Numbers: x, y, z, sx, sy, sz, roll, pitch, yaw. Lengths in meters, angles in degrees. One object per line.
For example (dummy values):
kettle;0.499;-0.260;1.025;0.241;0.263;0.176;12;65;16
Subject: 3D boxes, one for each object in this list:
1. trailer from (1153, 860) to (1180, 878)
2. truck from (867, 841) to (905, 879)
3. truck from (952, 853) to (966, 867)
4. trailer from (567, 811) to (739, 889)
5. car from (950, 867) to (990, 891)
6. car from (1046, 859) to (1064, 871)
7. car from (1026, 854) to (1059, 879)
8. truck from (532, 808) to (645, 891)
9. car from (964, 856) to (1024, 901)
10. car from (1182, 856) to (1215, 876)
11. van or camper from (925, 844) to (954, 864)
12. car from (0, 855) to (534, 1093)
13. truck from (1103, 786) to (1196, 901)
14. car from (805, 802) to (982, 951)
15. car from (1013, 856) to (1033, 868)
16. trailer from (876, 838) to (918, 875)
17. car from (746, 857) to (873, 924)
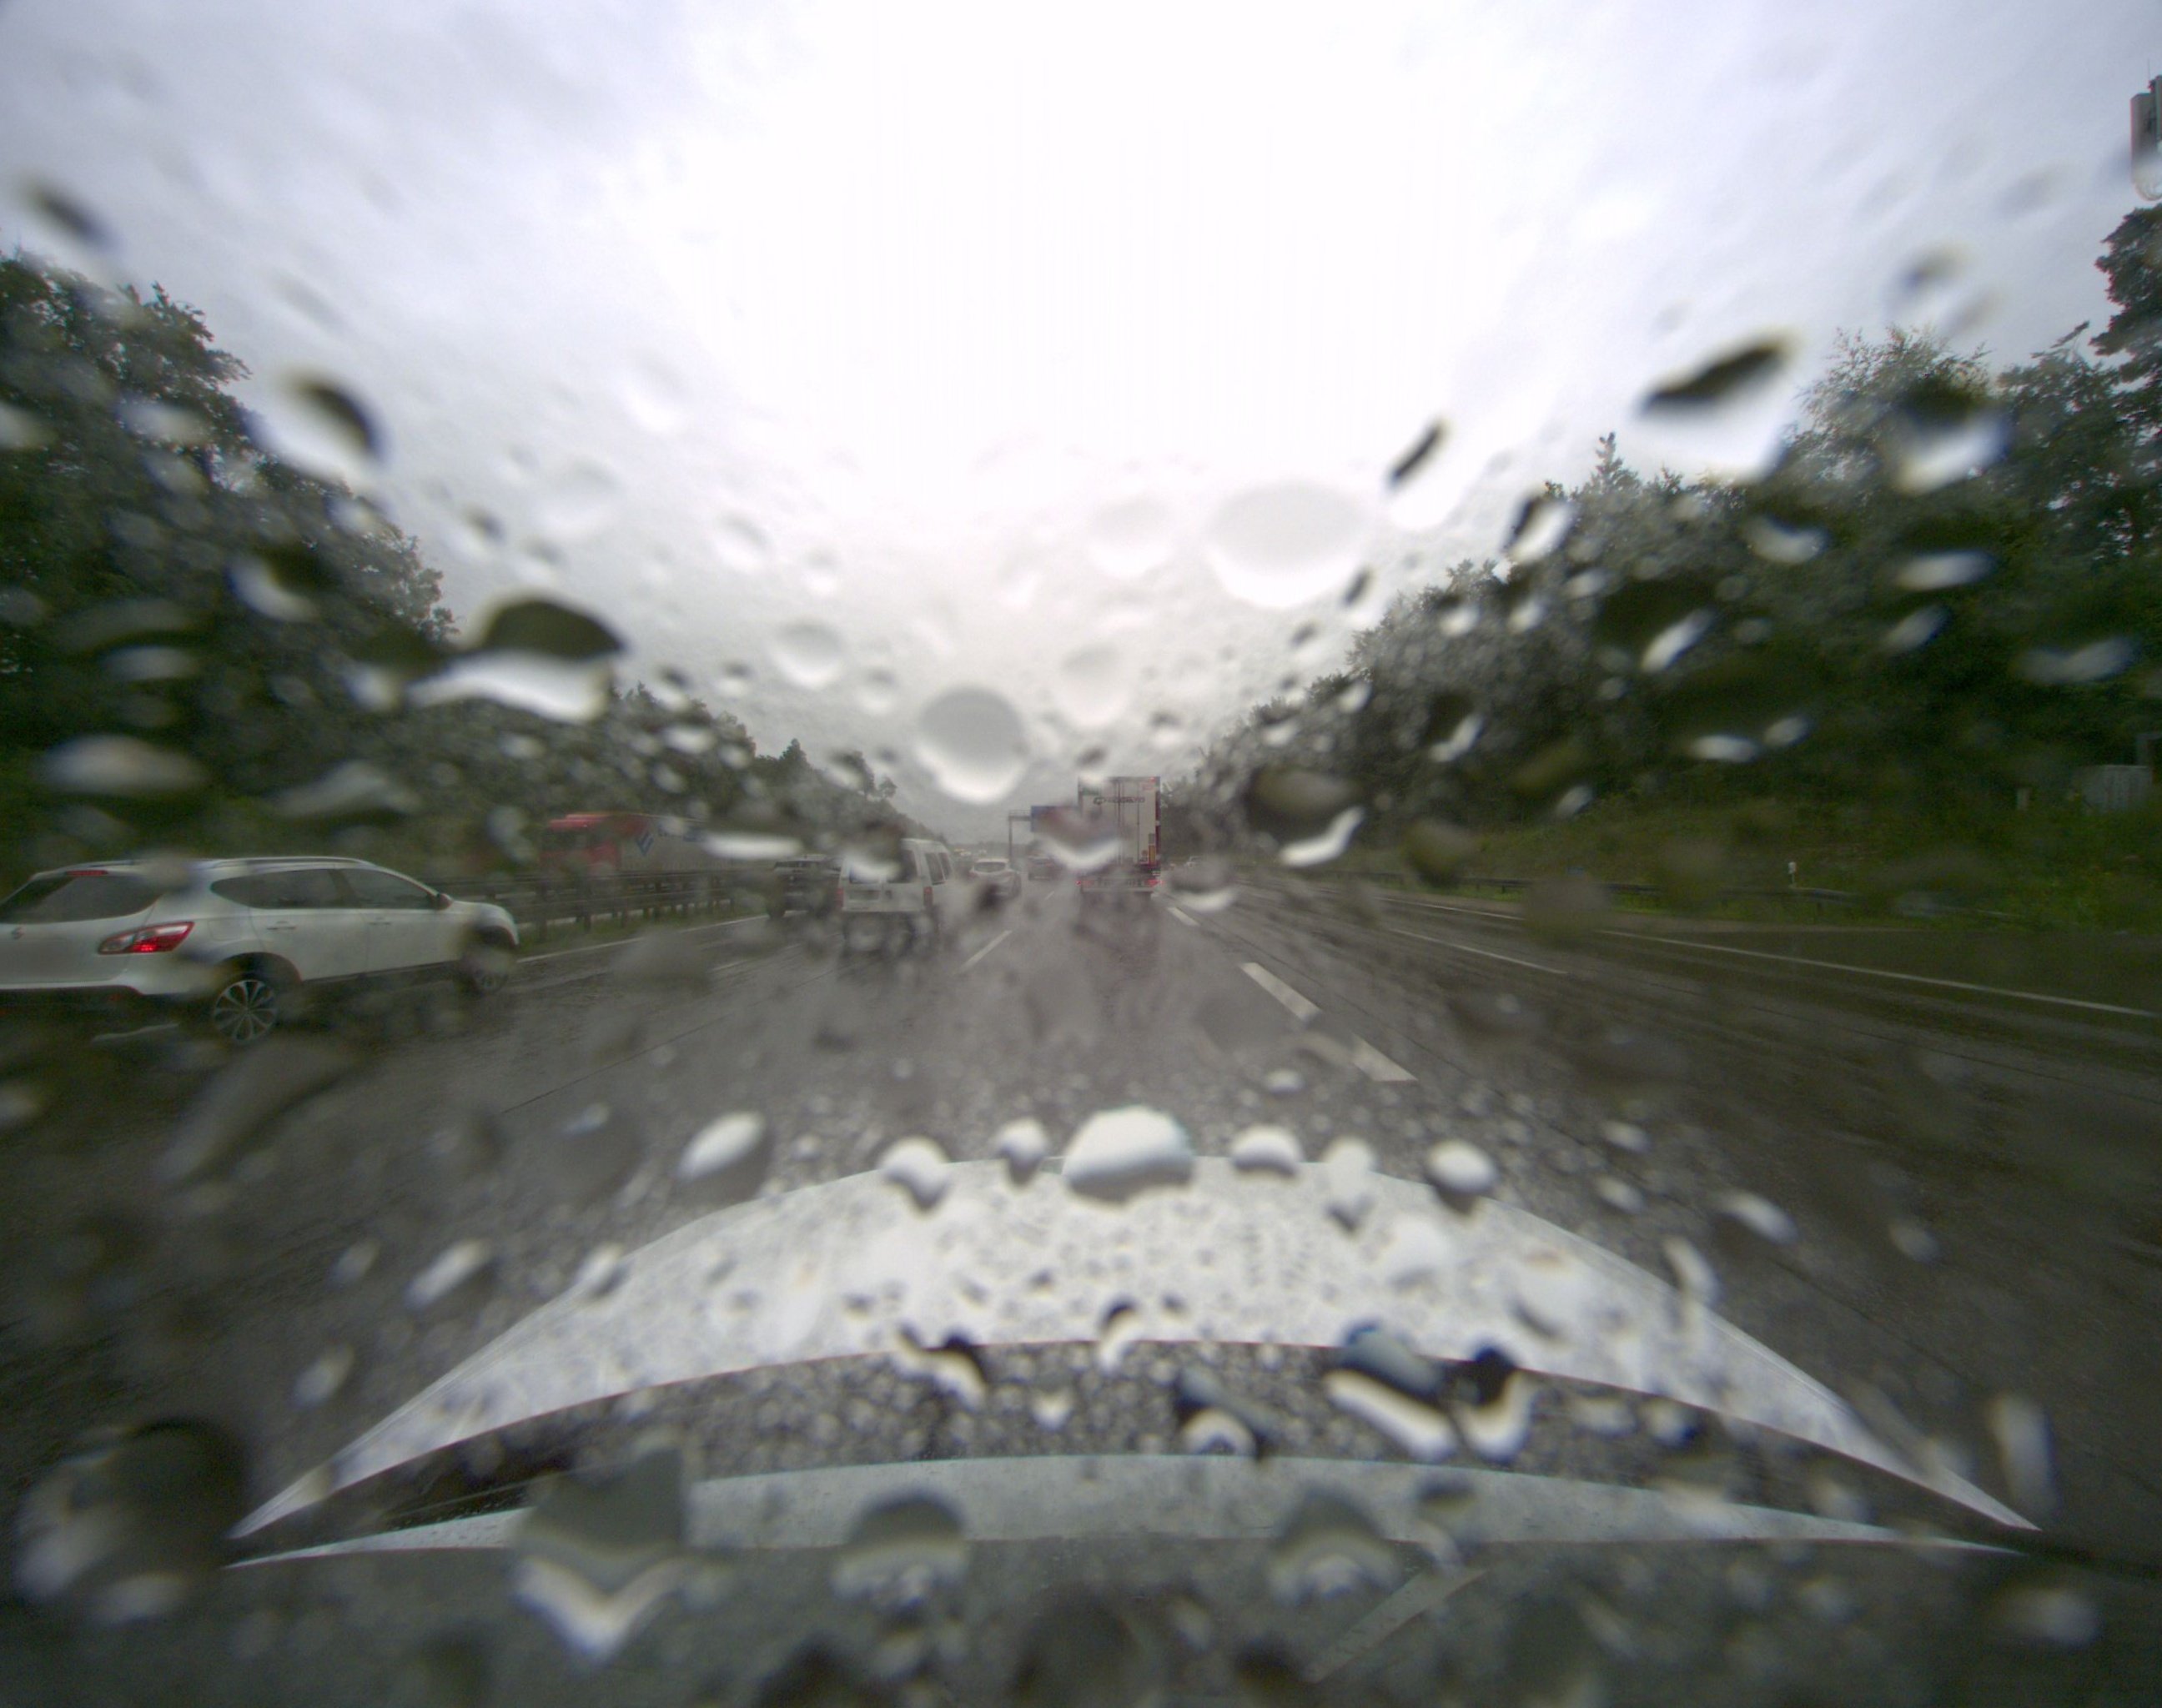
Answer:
trailer;8.827;1.514;84.628;2.236;1.714;5.081;-1;0;0
truck;-21.373;0.649;89.703;2.368;3.954;6.538;-2;0;1
truck;-31.128;1.424;208.470;2.514;3.483;11.706;0;0;-3
trailer;-25.345;-0.200;49.583;2.710;3.954;13.963;-2;0;1
car;-6.900;1.531;51.122;1.839;1.330;4.466;0;0;0
car;-2.923;1.223;92.686;1.839;1.330;4.466;0;0;0
car;-2.577;0.802;55.751;1.838;1.591;4.470;0;0;3
truck;-25.499;-0.220;42.466;2.694;3.954;4.892;-2;0;1
car;-3.296;0.907;31.703;1.839;1.591;4.072;0;0;0
car;8.887;0.890;61.724;1.786;1.407;4.225;0;0;-2
van or camper;-21.901;-0.016;126.195;2.832;2.978;8.787;-1;0;1
car;-7.685;0.826;7.780;1.839;1.591;4.467;0;0;1
truck;2.456;-0.292;31.064;2.860;3.562;11.311;0;0;3
car;-3.563;0.383;16.631;2.204;2.573;5.019;0;0;3
car;-6.582;0.881;93.001;1.839;1.330;4.466;0;0;0
trailer;-21.270;0.307;94.666;2.368;3.954;9.424;-2;0;1
car;-7.240;0.892;22.209;1.839;1.591;4.468;0;0;1
